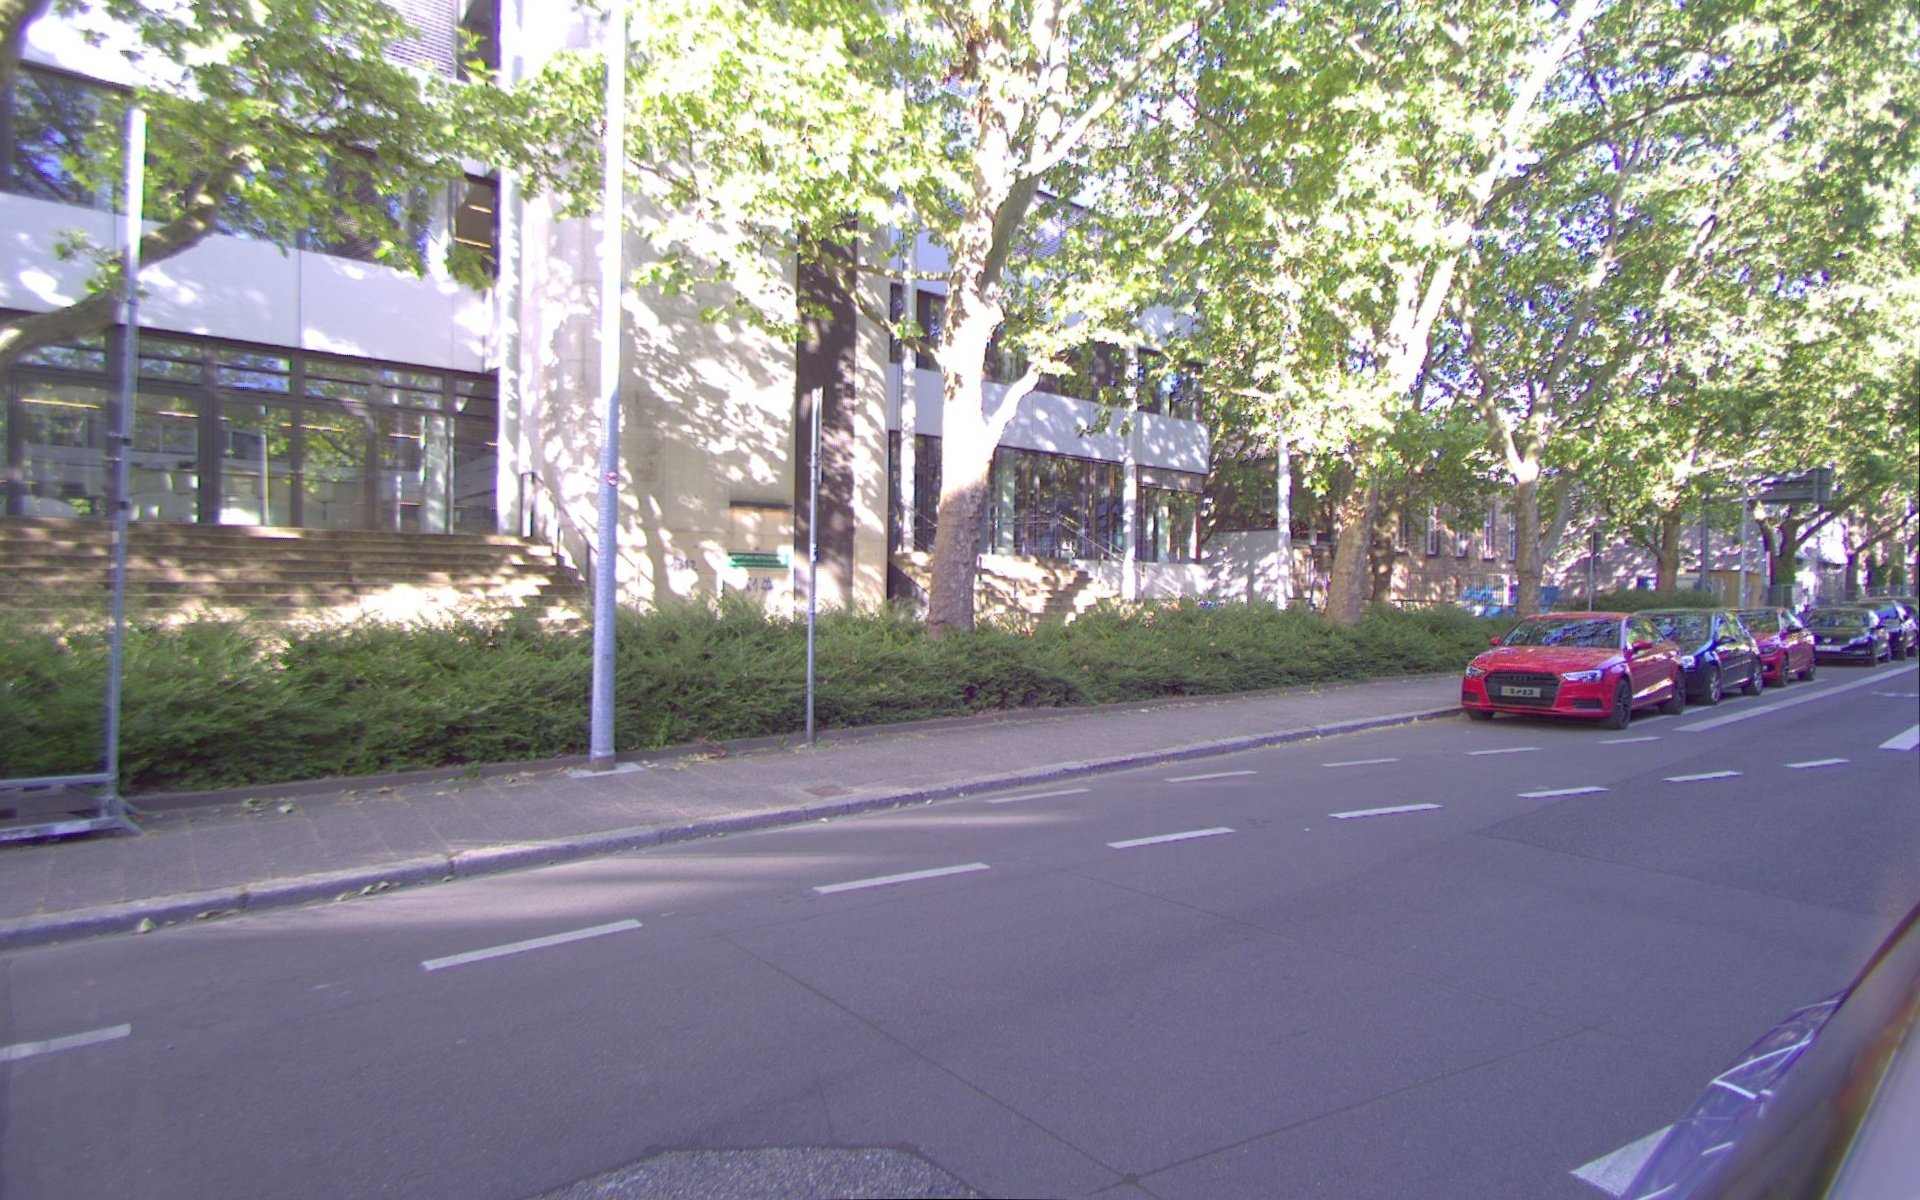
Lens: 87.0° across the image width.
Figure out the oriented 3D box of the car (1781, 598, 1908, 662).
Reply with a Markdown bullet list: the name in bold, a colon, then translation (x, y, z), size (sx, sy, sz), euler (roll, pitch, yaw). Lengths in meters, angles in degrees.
- **car**: translation (22.814, 0.717, 26.068), size (3.527, 1.474, 1.997), euler (-1, 0, -41)

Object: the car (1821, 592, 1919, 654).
- **car**: translation (26.541, 0.604, 29.190), size (4.070, 1.621, 1.997), euler (-1, 0, -41)

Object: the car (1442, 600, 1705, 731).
- **car**: translation (8.272, 0.747, 13.531), size (3.930, 1.443, 1.906), euler (-1, 0, -41)

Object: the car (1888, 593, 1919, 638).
- **car**: translation (36.016, 0.543, 37.460), size (4.070, 1.585, 1.997), euler (-1, 0, -41)

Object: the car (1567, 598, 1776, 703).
- **car**: translation (11.699, 0.725, 16.576), size (3.581, 1.478, 1.997), euler (-1, 0, -41)

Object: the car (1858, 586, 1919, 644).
- **car**: translation (31.279, 0.445, 33.318), size (4.493, 1.809, 1.997), euler (-1, 0, -41)

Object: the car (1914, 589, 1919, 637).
- **car**: translation (39.626, 0.480, 40.293), size (3.930, 1.872, 1.997), euler (-1, 0, -41)

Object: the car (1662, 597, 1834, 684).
- **car**: translation (15.663, 0.713, 20.061), size (3.762, 1.517, 1.997), euler (-1, 0, -41)
